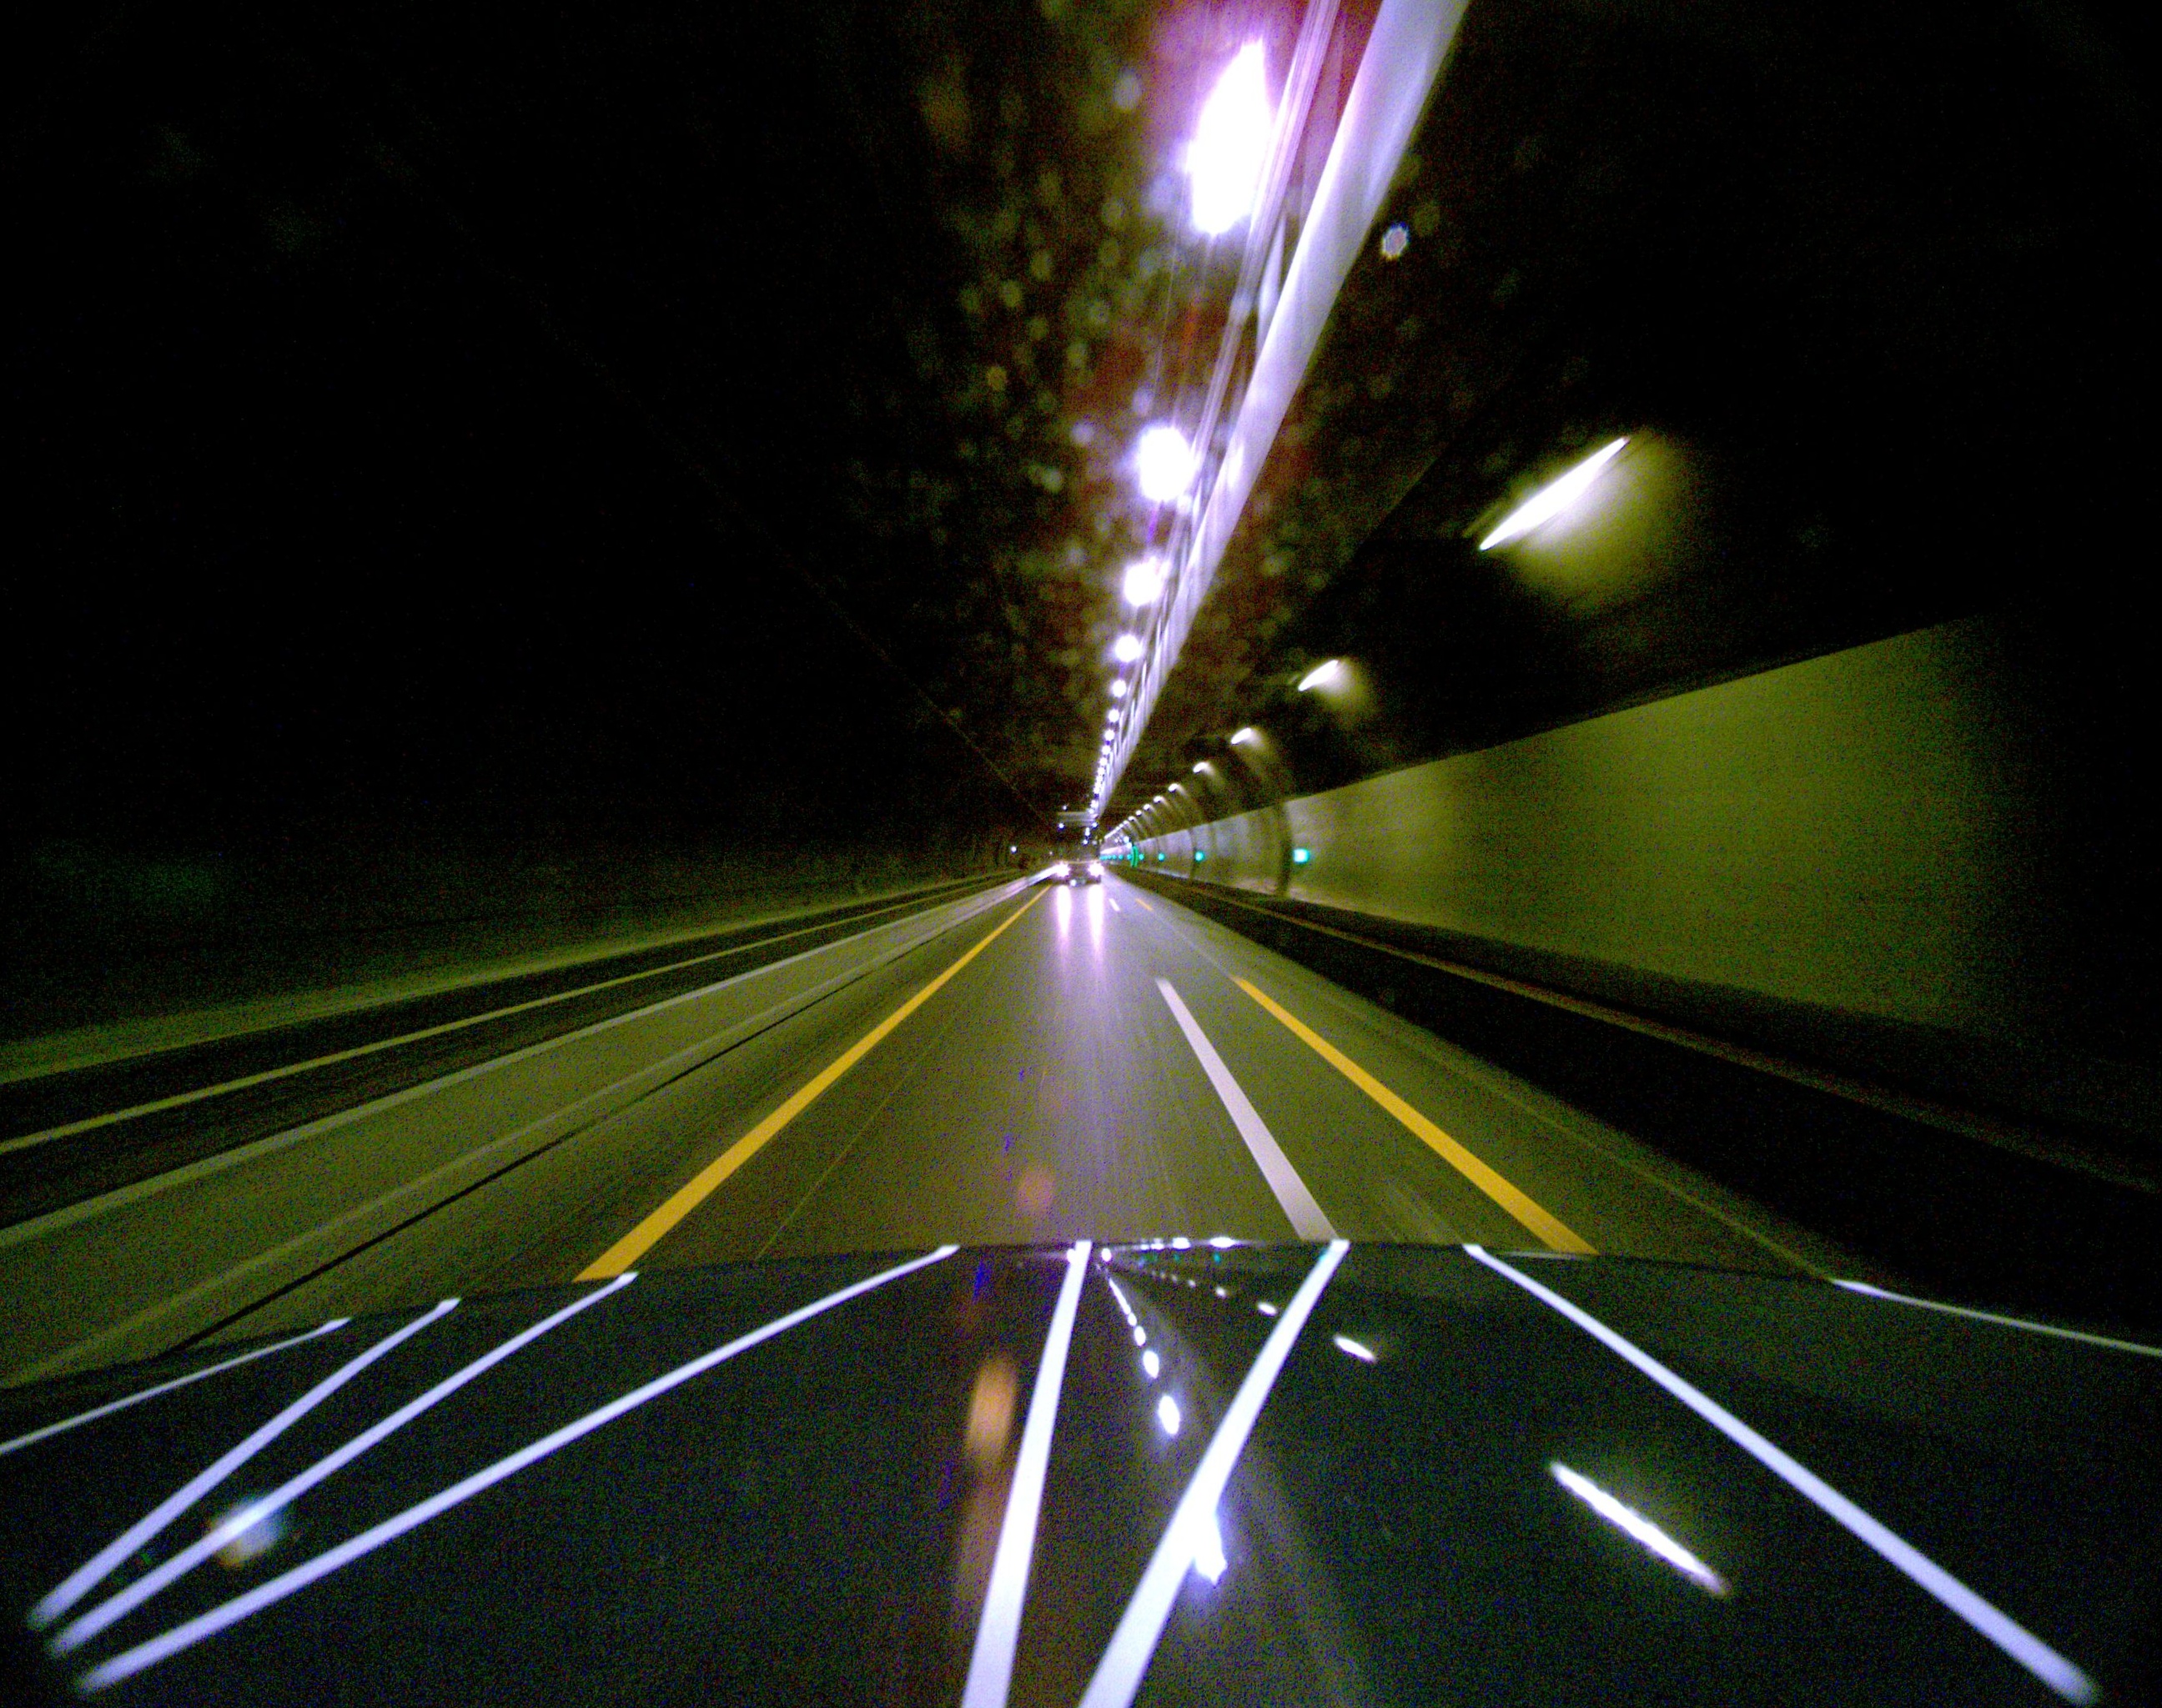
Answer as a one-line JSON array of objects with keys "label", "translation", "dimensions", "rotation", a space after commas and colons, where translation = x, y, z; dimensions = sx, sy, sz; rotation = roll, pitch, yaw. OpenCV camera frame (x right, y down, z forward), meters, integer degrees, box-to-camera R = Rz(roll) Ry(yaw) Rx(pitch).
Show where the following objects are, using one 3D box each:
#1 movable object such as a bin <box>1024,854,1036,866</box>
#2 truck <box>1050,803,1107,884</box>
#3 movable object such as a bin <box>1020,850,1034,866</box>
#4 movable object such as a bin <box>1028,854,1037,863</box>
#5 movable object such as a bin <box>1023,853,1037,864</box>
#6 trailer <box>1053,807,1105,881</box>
[{"label": "movable object such as a bin", "translation": [-7.754, 0.850, 116.030], "dimensions": [1.560, 1.699, 3.054], "rotation": [-2, 1, 0]}, {"label": "truck", "translation": [-0.125, -0.608, 45.094], "dimensions": [2.951, 4.338, 6.674], "rotation": [-2, 1, 0]}, {"label": "movable object such as a bin", "translation": [-7.815, 0.579, 109.705], "dimensions": [1.688, 2.133, 4.627], "rotation": [-2, 1, 0]}, {"label": "movable object such as a bin", "translation": [-8.181, 0.764, 127.444], "dimensions": [1.306, 1.584, 3.055], "rotation": [2, 0, 0]}, {"label": "movable object such as a bin", "translation": [-8.109, 0.679, 121.078], "dimensions": [1.865, 1.665, 4.501], "rotation": [2, 0, 0]}, {"label": "trailer", "translation": [-0.088, -0.660, 50.670], "dimensions": [2.940, 4.316, 10.051], "rotation": [-2, 1, 0]}]
